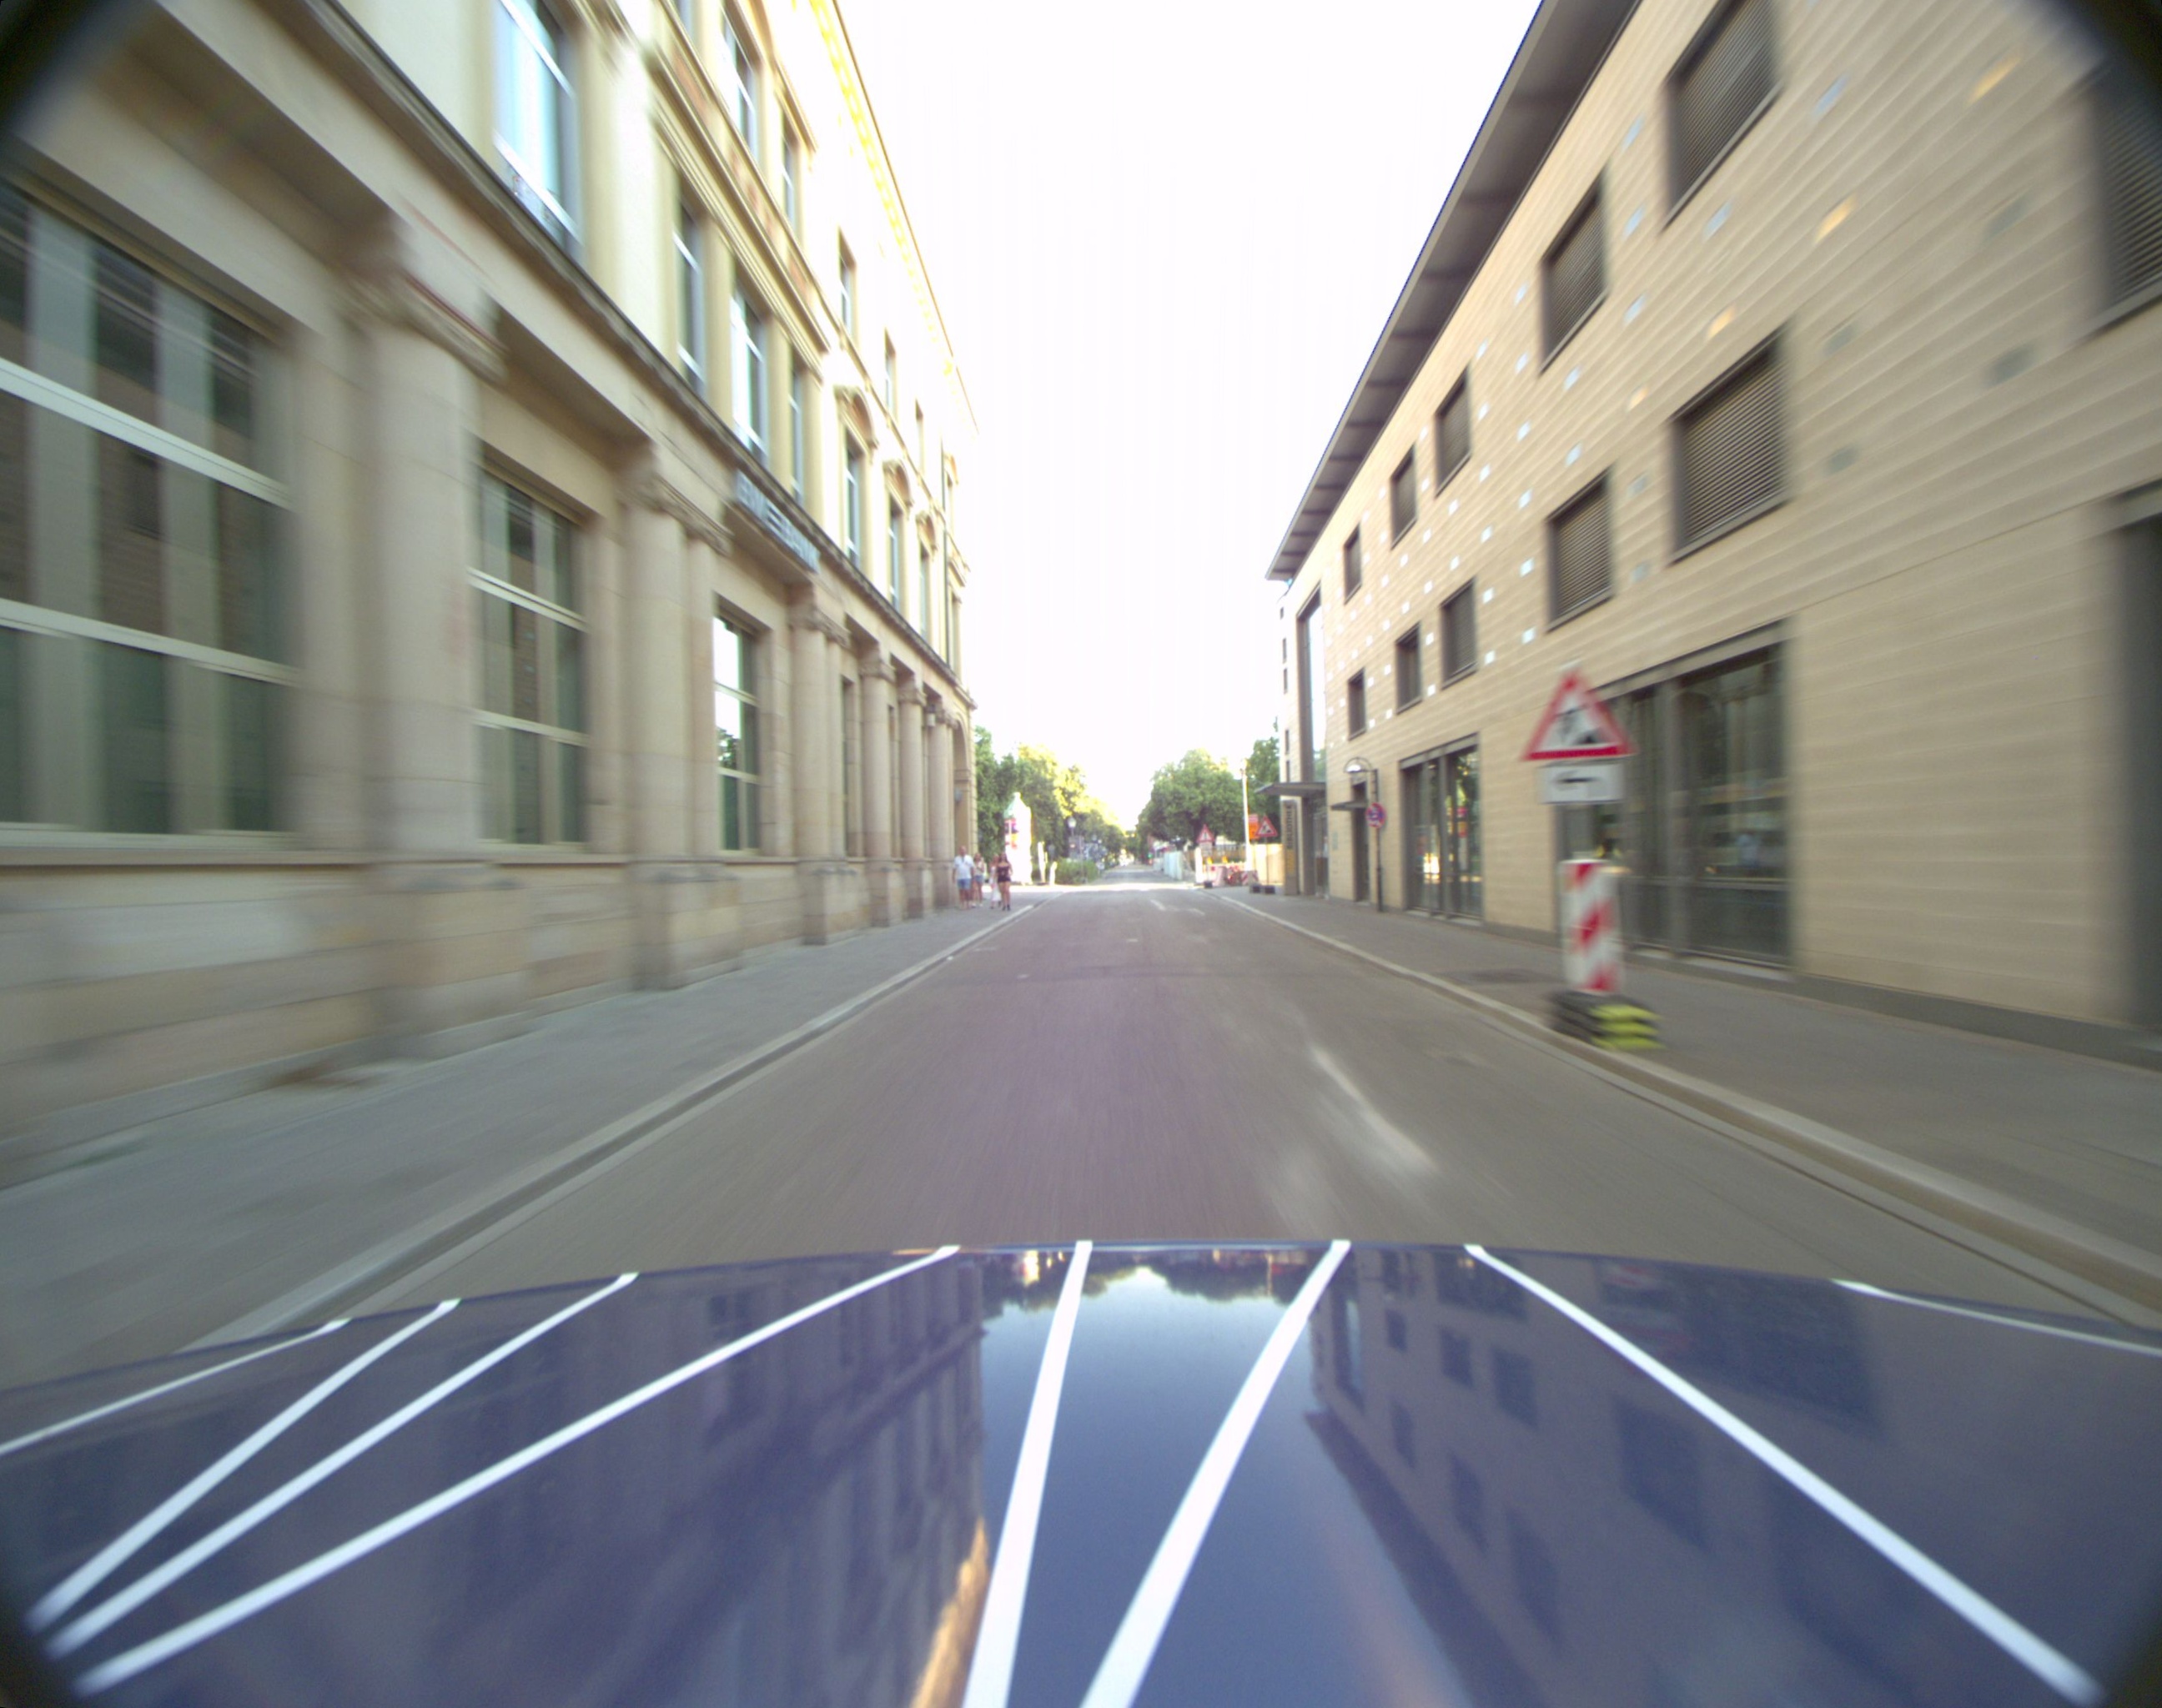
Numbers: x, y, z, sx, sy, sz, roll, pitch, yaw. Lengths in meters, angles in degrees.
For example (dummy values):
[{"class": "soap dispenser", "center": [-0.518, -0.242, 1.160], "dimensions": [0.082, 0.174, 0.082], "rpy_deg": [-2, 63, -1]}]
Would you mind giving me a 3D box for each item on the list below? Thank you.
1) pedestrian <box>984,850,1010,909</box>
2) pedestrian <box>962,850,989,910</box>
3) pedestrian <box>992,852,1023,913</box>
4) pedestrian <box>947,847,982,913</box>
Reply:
[{"class": "pedestrian", "center": [-2.577, 0.770, 23.323], "dimensions": [0.638, 1.793, 0.772], "rpy_deg": [-1, 0, 2]}, {"class": "pedestrian", "center": [-3.238, 0.789, 23.366], "dimensions": [0.638, 1.793, 0.772], "rpy_deg": [-1, 0, 2]}, {"class": "pedestrian", "center": [-2.142, 0.819, 22.251], "dimensions": [0.777, 1.736, 0.875], "rpy_deg": [-1, 0, 2]}, {"class": "pedestrian", "center": [-3.370, 0.752, 22.065], "dimensions": [0.814, 1.864, 0.875], "rpy_deg": [-1, 0, 2]}]
